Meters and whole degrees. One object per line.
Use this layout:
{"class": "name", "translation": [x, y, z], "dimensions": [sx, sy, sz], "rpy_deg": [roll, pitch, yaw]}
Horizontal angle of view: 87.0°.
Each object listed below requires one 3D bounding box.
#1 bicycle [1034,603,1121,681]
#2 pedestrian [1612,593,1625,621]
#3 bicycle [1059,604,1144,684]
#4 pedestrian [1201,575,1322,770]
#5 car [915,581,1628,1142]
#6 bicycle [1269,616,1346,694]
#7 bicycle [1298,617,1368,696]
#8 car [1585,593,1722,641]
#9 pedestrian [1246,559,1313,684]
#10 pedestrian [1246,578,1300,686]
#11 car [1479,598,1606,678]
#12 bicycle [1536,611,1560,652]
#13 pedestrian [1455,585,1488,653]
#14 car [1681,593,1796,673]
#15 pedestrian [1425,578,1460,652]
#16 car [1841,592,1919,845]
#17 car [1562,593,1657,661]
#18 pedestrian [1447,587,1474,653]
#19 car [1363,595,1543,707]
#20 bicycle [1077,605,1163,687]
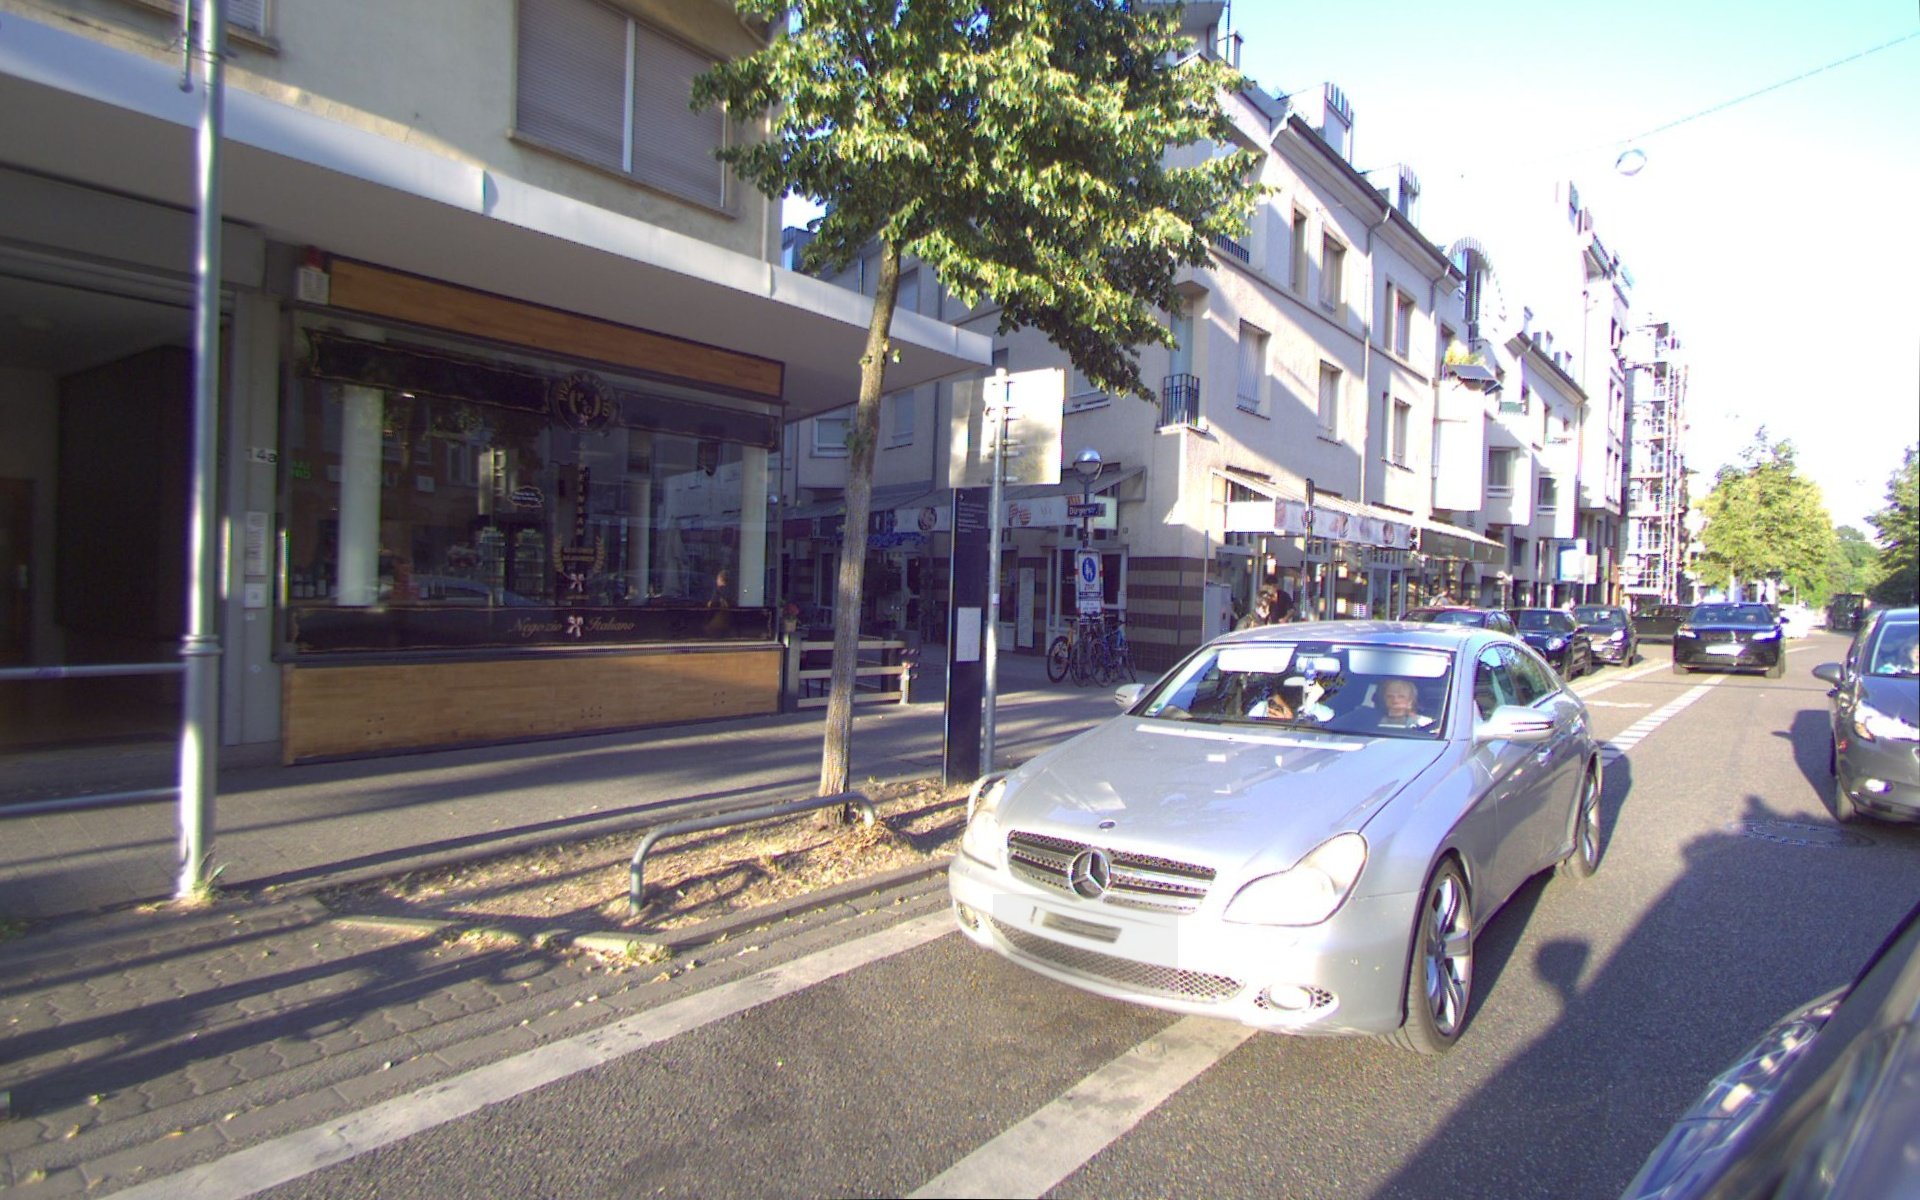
{"class": "bicycle", "translation": [1.844, 0.615, 15.651], "dimensions": [0.320, 1.118, 1.851], "rpy_deg": [2, 1, 41]}
{"class": "pedestrian", "translation": [31.005, 0.326, 47.646], "dimensions": [0.490, 1.279, 0.415], "rpy_deg": [0, 0, 42]}
{"class": "bicycle", "translation": [2.171, 0.641, 15.321], "dimensions": [0.290, 1.118, 1.859], "rpy_deg": [2, 1, 41]}
{"class": "pedestrian", "translation": [2.783, 0.646, 9.401], "dimensions": [0.688, 1.696, 0.799], "rpy_deg": [2, 2, -13]}
{"class": "car", "translation": [1.959, 0.661, 5.031], "dimensions": [1.740, 1.418, 4.573], "rpy_deg": [1, 3, 40]}
{"class": "bicycle", "translation": [5.194, 0.792, 15.058], "dimensions": [0.314, 1.059, 1.853], "rpy_deg": [3, 2, 43]}
{"class": "bicycle", "translation": [5.504, 0.802, 14.886], "dimensions": [0.314, 1.059, 1.638], "rpy_deg": [3, 2, 43]}
{"class": "car", "translation": [27.663, 0.622, 40.462], "dimensions": [1.708, 1.696, 4.284], "rpy_deg": [1, 1, -45]}
{"class": "pedestrian", "translation": [5.053, 0.334, 16.005], "dimensions": [0.776, 1.907, 0.660], "rpy_deg": [-2, -2, 41]}
{"class": "pedestrian", "translation": [5.325, 0.522, 17.215], "dimensions": [0.629, 1.771, 0.660], "rpy_deg": [3, 2, 41]}
{"class": "car", "translation": [12.220, 0.720, 21.113], "dimensions": [1.615, 1.452, 3.868], "rpy_deg": [3, 2, 40]}
{"class": "bicycle", "translation": [16.275, 0.860, 28.003], "dimensions": [0.295, 1.099, 1.441], "rpy_deg": [1, 1, 41]}
{"class": "pedestrian", "translation": [12.485, 0.453, 24.710], "dimensions": [0.519, 1.612, 0.402], "rpy_deg": [5, 3, 41]}
{"class": "car", "translation": [17.907, 0.680, 23.216], "dimensions": [1.884, 1.656, 4.165], "rpy_deg": [0, 0, 41]}
{"class": "pedestrian", "translation": [11.892, 0.356, 24.946], "dimensions": [0.543, 1.779, 0.495], "rpy_deg": [5, 3, 41]}
{"class": "car", "translation": [7.229, 0.705, 7.029], "dimensions": [1.616, 1.492, 3.634], "rpy_deg": [0, 0, 41]}
{"class": "car", "translation": [17.169, 0.660, 26.690], "dimensions": [1.615, 1.612, 3.868], "rpy_deg": [2, 1, 40]}
{"class": "pedestrian", "translation": [14.031, 0.562, 28.368], "dimensions": [0.574, 1.823, 0.443], "rpy_deg": [0, 0, 42]}
{"class": "car", "translation": [7.781, 0.701, 15.793], "dimensions": [1.587, 1.451, 3.868], "rpy_deg": [4, 2, 40]}
{"class": "bicycle", "translation": [2.410, 0.654, 15.114], "dimensions": [0.320, 1.118, 1.851], "rpy_deg": [2, 1, 41]}
